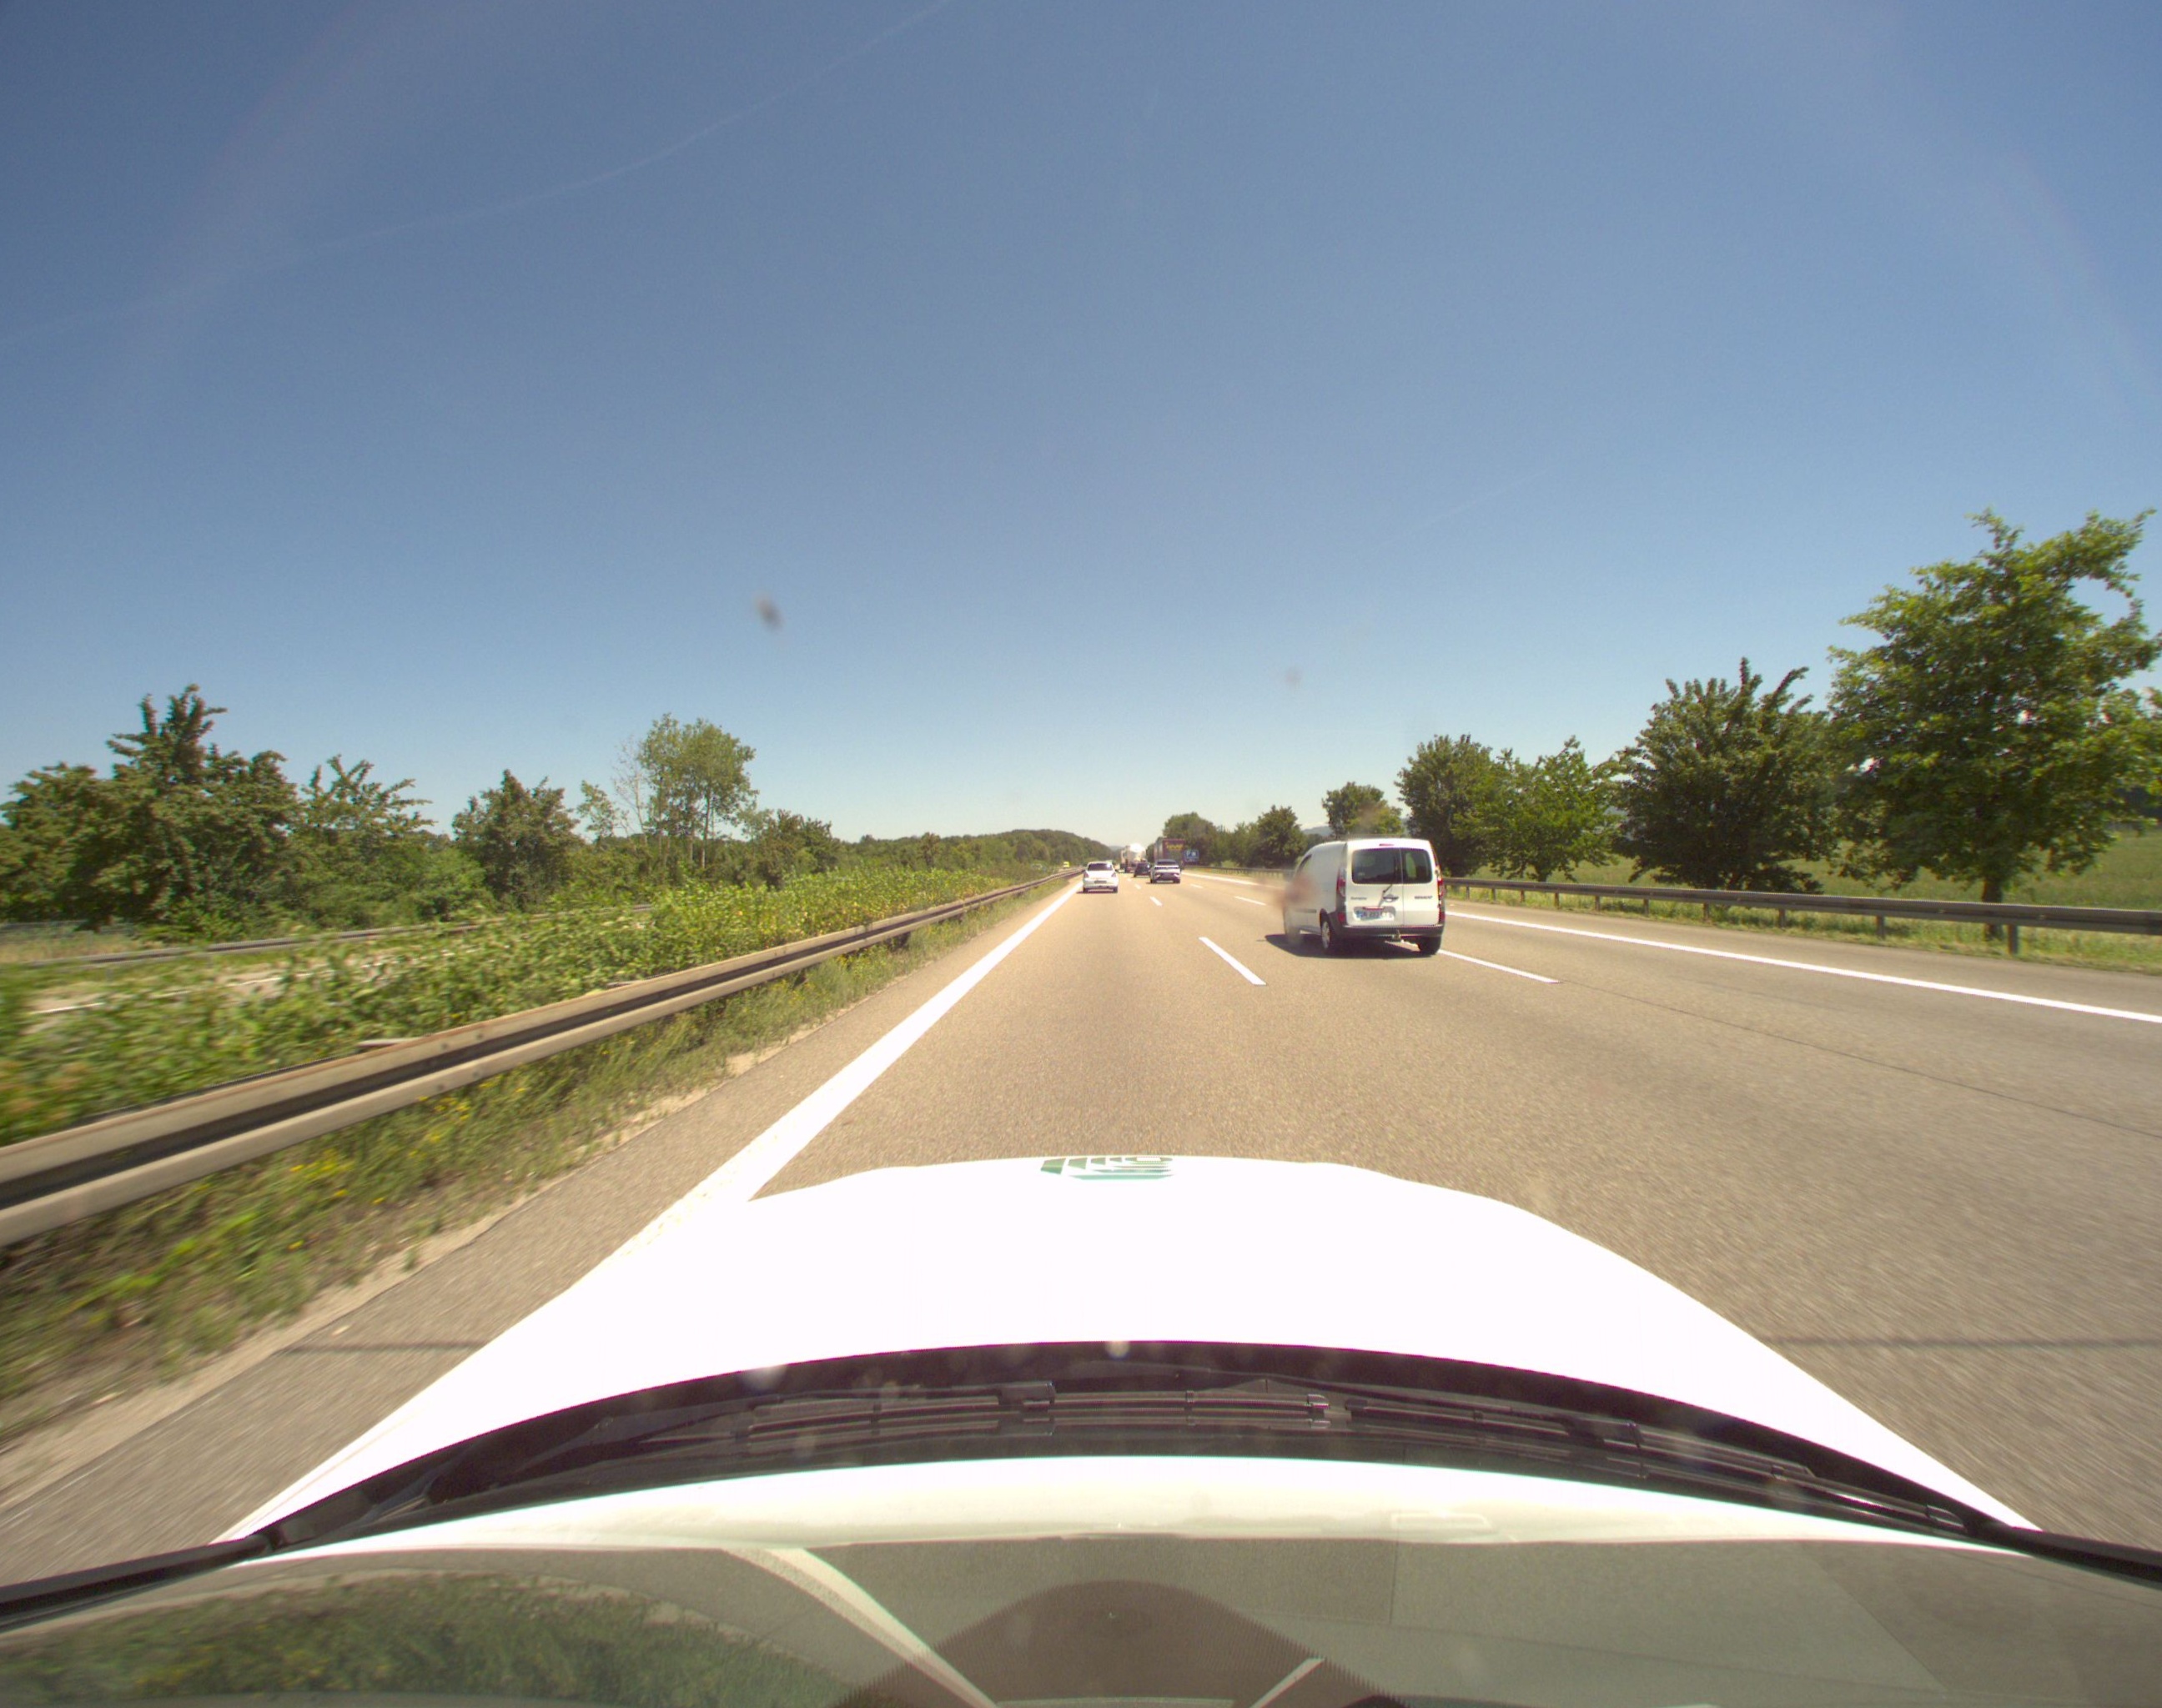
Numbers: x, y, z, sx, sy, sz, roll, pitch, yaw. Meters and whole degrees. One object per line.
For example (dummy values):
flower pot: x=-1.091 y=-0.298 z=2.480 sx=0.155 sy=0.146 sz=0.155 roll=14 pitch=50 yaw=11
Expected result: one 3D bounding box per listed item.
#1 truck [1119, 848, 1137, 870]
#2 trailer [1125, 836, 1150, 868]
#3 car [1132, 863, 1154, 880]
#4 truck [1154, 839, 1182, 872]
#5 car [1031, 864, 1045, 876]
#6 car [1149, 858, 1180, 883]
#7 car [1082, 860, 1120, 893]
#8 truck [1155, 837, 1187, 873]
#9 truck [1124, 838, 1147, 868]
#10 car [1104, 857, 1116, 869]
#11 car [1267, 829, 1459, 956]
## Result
truck: x=9.352 y=1.007 z=163.768 sx=3.380 sy=4.214 sz=12.091 roll=-1 pitch=-1 yaw=3
trailer: x=7.590 y=-0.167 z=111.373 sx=2.900 sy=4.069 sz=12.422 roll=-1 pitch=-1 yaw=2
car: x=5.795 y=1.605 z=76.452 sx=1.843 sy=1.523 sz=3.959 roll=-1 pitch=-1 yaw=2
truck: x=11.357 y=0.249 z=107.086 sx=3.096 sy=4.139 sz=8.061 roll=-1 pitch=-1 yaw=3
car: x=-7.663 y=2.897 z=147.022 sx=2.034 sy=1.924 sz=5.228 roll=-4 pitch=-1 yaw=1
car: x=5.629 y=1.071 z=55.225 sx=1.795 sy=1.603 sz=4.382 roll=-1 pitch=-1 yaw=2
car: x=0.973 y=1.067 z=40.139 sx=1.793 sy=1.552 sz=3.610 roll=-1 pitch=-1 yaw=1
truck: x=11.071 y=0.199 z=101.766 sx=3.096 sy=4.139 sz=15.521 roll=-1 pitch=-1 yaw=3
truck: x=7.645 y=-0.141 z=114.963 sx=2.901 sy=4.079 sz=7.196 roll=-1 pitch=-1 yaw=1
car: x=6.394 y=1.960 z=177.328 sx=2.465 sy=2.354 sz=5.185 roll=-1 pitch=-1 yaw=3
car: x=4.689 y=0.592 z=14.352 sx=1.846 sy=1.863 sz=4.703 roll=-1 pitch=-1 yaw=1
